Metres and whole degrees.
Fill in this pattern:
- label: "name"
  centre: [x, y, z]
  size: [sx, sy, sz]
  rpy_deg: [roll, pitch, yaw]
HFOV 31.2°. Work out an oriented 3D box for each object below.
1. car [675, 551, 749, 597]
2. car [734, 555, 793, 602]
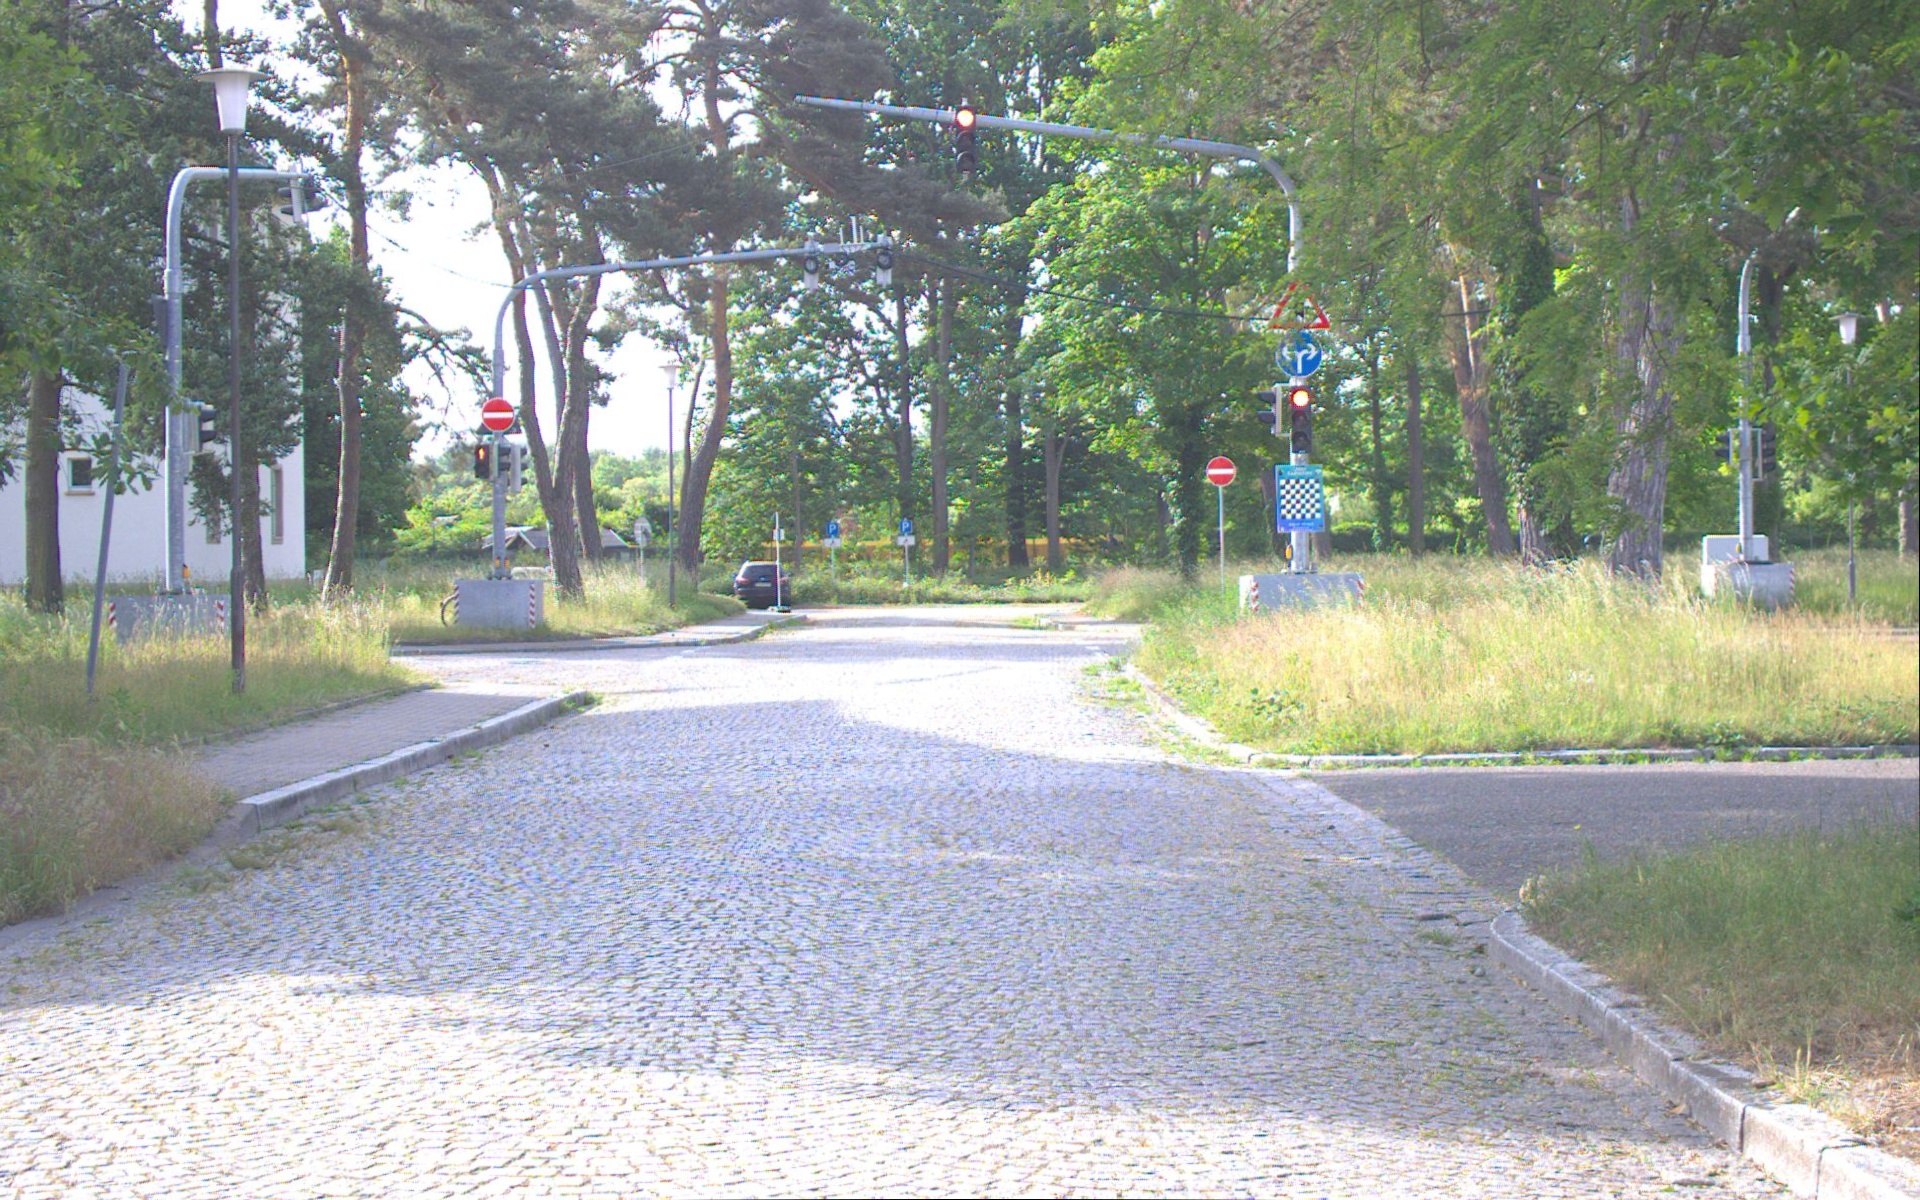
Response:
- label: "car"
  centre: [-8.387, -0.890, 116.589]
  size: [1.783, 1.485, 3.754]
  rpy_deg: [-1, 1, 7]
- label: "car"
  centre: [-6.363, -0.721, 111.774]
  size: [1.845, 1.481, 4.000]
  rpy_deg: [-1, 1, -2]
